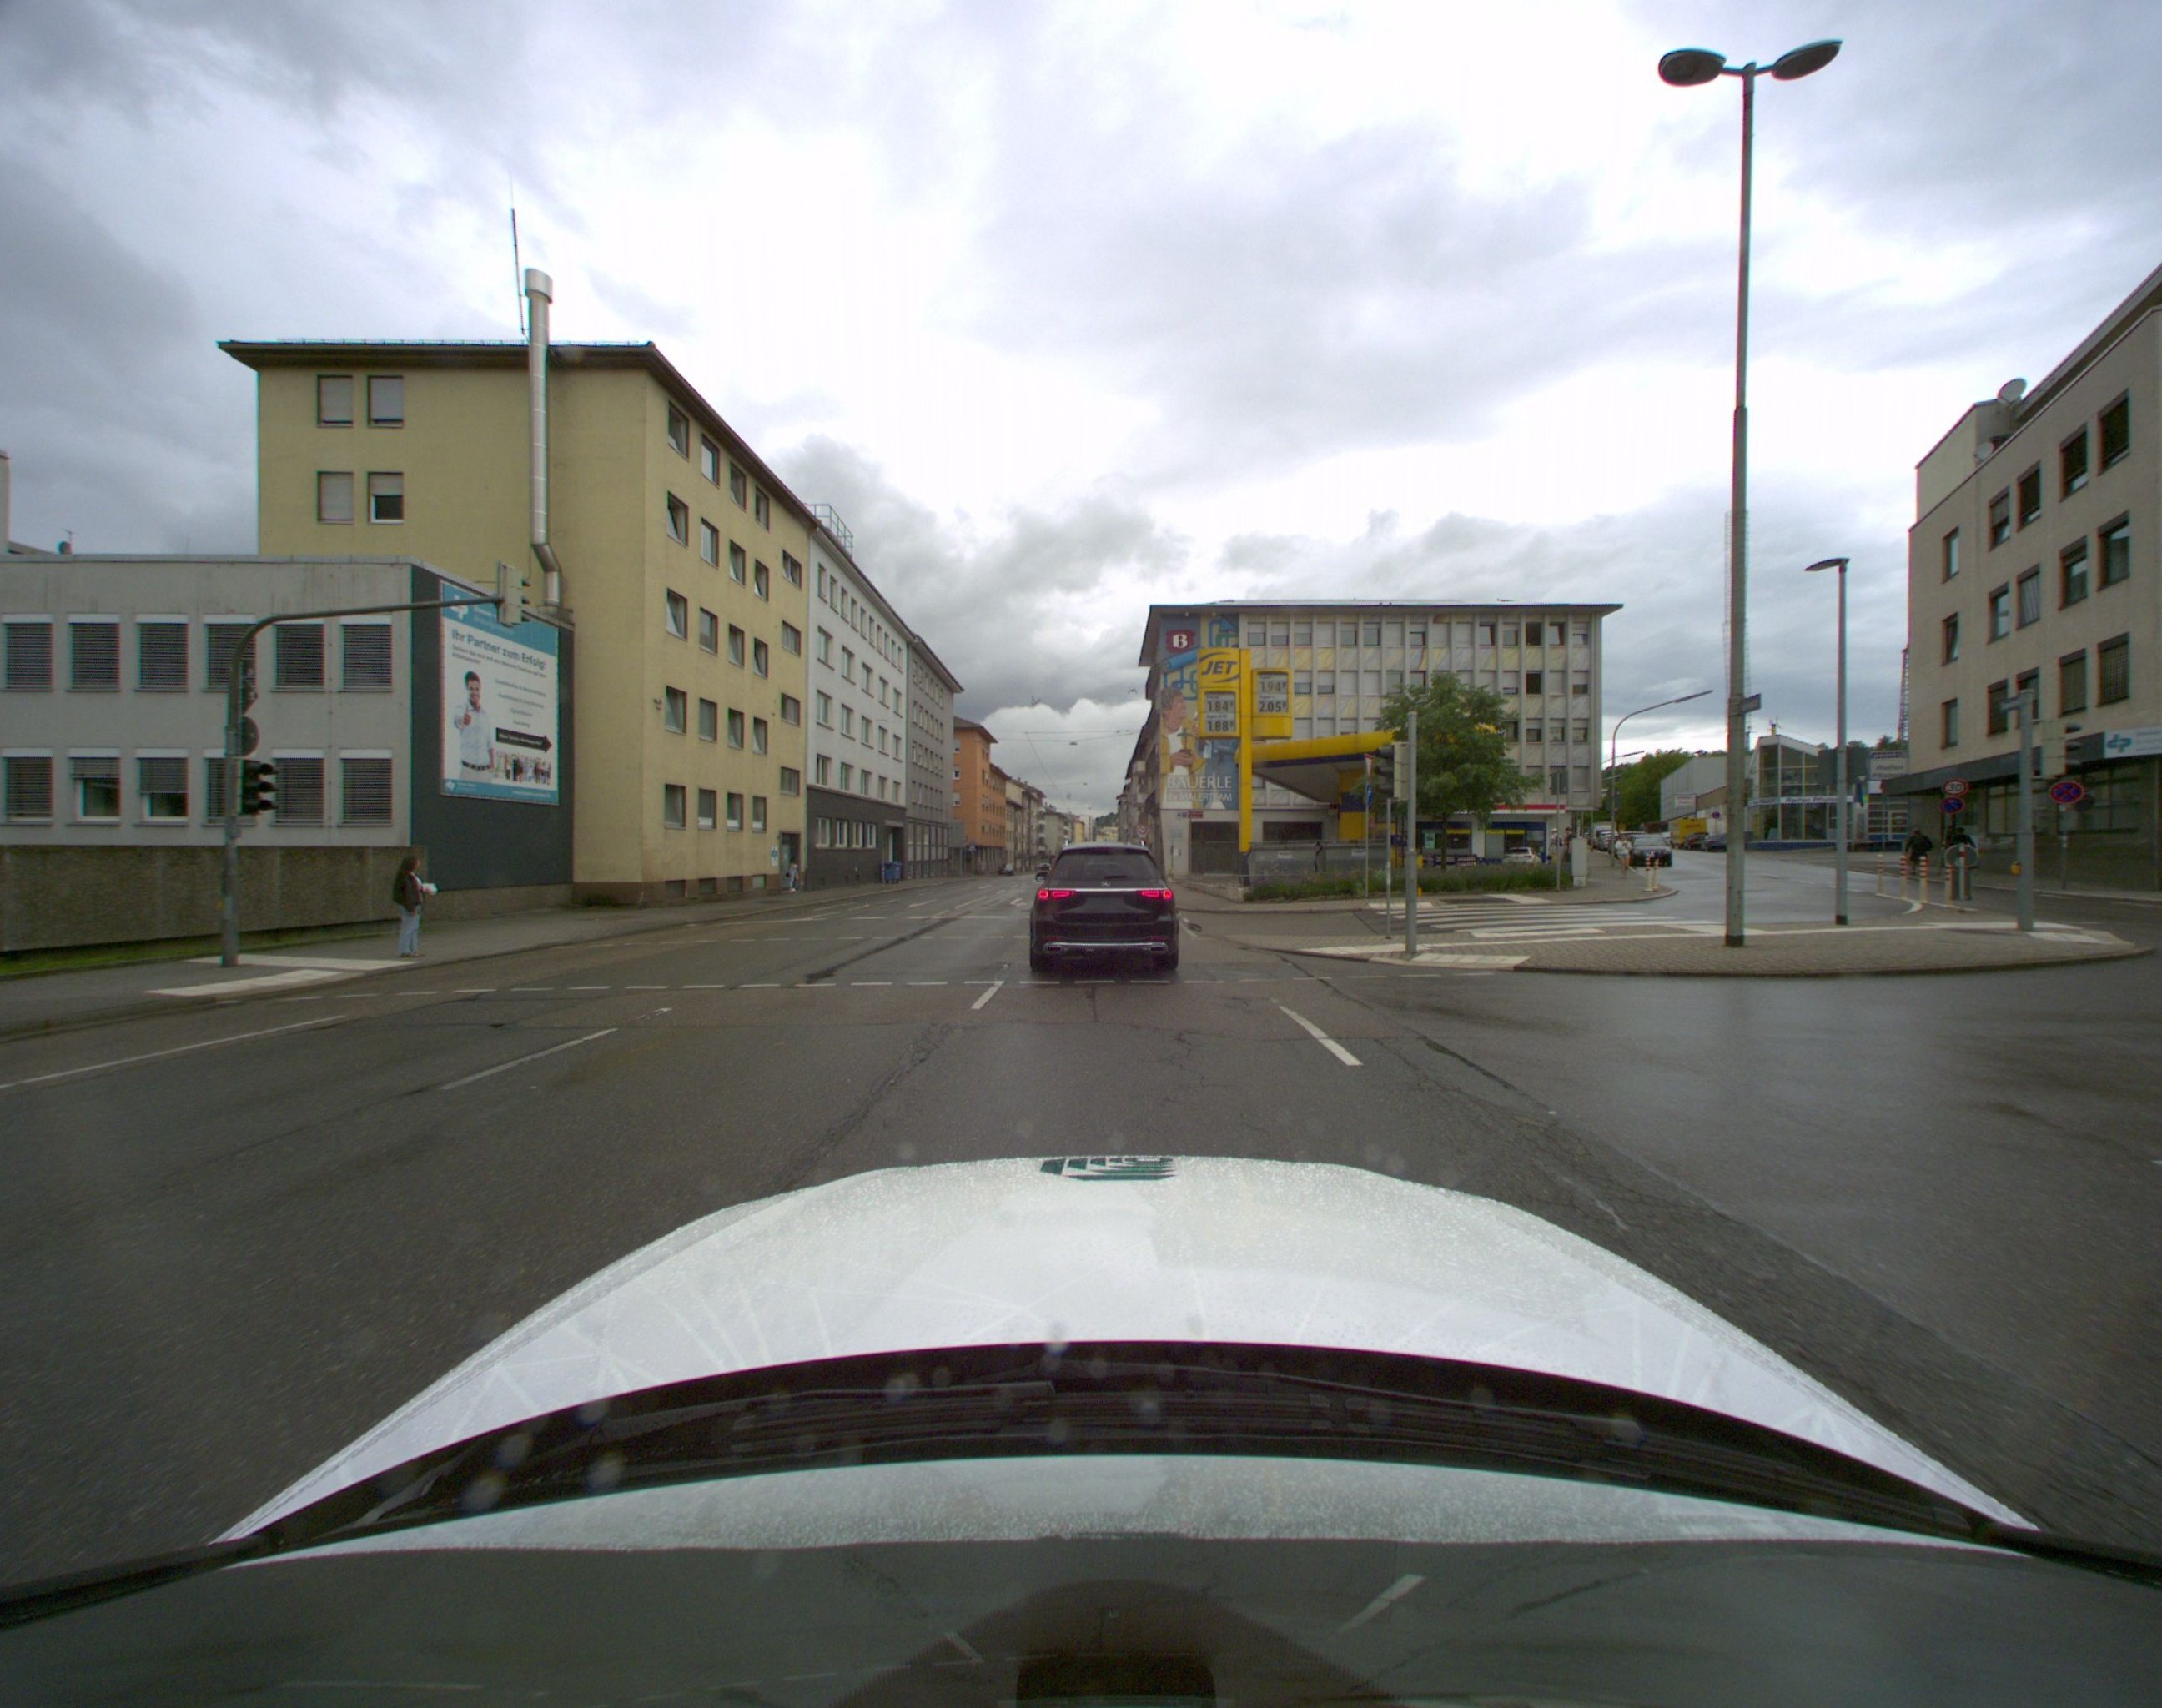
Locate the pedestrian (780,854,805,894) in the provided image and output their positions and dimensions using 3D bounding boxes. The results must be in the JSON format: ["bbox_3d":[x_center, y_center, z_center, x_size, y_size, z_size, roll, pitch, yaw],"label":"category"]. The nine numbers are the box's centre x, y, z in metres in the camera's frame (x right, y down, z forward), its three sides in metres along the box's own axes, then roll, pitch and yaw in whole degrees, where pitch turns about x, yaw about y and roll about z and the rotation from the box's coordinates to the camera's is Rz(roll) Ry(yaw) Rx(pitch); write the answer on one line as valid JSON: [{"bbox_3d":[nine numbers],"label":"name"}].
[{"bbox_3d":[-12.510,0.868,35.332,0.714,1.689,0.812,2,-1,3],"label":"pedestrian"}]

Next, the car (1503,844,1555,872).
[{"bbox_3d":[26.750,0.289,48.550,1.974,1.516,4.446,-2,-3,38],"label":"car"}]

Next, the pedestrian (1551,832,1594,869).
[{"bbox_3d":[18.516,-0.132,30.679,0.922,1.353,1.100,2,-1,-40],"label":"pedestrian"}]

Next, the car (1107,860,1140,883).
[{"bbox_3d":[2.966,1.208,57.236,1.888,1.402,4.606,-5,0,-1],"label":"car"}]

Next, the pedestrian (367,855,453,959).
[{"bbox_3d":[-11.348,0.875,13.799,0.714,1.689,0.812,2,-1,3],"label":"pedestrian"}]

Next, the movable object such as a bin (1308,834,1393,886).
[{"bbox_3d":[8.629,0.187,26.181,2.147,1.555,1.774,-1,-1,1],"label":"movable object such as a bin"}]

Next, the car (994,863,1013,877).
[{"bbox_3d":[-9.151,1.864,96.382,1.885,1.458,4.548,2,0,-1],"label":"car"}]

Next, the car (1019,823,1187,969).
[{"bbox_3d":[0.322,0.532,12.535,2.069,1.765,4.612,2,0,1],"label":"car"}]

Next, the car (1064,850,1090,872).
[{"bbox_3d":[-0.299,0.569,67.876,2.069,1.650,4.296,2,0,1],"label":"car"}]

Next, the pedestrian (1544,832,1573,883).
[{"bbox_3d":[24.928,0.179,42.510,0.998,2.567,1.153,1,-1,16],"label":"pedestrian"}]

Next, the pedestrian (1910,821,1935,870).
[{"bbox_3d":[30.220,-0.312,29.264,0.473,1.742,0.578,1,-1,31],"label":"pedestrian"}]

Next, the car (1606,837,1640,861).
[{"bbox_3d":[44.711,-0.373,67.280,1.975,1.865,4.608,1,0,30],"label":"car"}]

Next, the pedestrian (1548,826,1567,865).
[{"bbox_3d":[21.542,-0.389,36.827,0.671,1.758,0.736,1,-1,24],"label":"pedestrian"}]

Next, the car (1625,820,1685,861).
[{"bbox_3d":[28.412,-0.614,40.413,1.975,1.865,4.608,1,0,30],"label":"car"}]

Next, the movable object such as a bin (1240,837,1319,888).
[{"bbox_3d":[6.341,0.266,26.205,2.147,1.574,1.774,-1,-1,1],"label":"movable object such as a bin"}]

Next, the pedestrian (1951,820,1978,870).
[{"bbox_3d":[30.753,-0.315,28.353,0.473,1.742,0.578,1,-1,31],"label":"pedestrian"}]

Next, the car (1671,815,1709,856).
[{"bbox_3d":[58.380,-1.748,78.180,2.354,3.688,5.025,1,-1,31],"label":"car"}]

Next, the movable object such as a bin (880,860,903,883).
[{"bbox_3d":[-11.609,1.063,49.852,1.072,1.324,1.191,2,-1,1],"label":"movable object such as a bin"}]

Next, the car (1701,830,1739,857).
[{"bbox_3d":[51.502,-0.858,65.689,1.974,2.014,4.025,1,-1,32],"label":"car"}]

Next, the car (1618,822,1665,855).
[{"bbox_3d":[34.534,-0.927,50.266,1.975,1.865,4.608,1,0,30],"label":"car"}]

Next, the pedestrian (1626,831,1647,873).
[{"bbox_3d":[20.364,-0.074,29.871,0.577,1.515,0.474,2,-1,-40],"label":"pedestrian"}]

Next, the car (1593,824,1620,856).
[{"bbox_3d":[51.566,-1.318,79.967,1.975,2.973,4.608,1,-1,30],"label":"car"}]

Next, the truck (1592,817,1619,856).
[{"bbox_3d":[55.571,-1.768,86.363,1.975,3.914,5.518,1,-1,30],"label":"truck"}]
